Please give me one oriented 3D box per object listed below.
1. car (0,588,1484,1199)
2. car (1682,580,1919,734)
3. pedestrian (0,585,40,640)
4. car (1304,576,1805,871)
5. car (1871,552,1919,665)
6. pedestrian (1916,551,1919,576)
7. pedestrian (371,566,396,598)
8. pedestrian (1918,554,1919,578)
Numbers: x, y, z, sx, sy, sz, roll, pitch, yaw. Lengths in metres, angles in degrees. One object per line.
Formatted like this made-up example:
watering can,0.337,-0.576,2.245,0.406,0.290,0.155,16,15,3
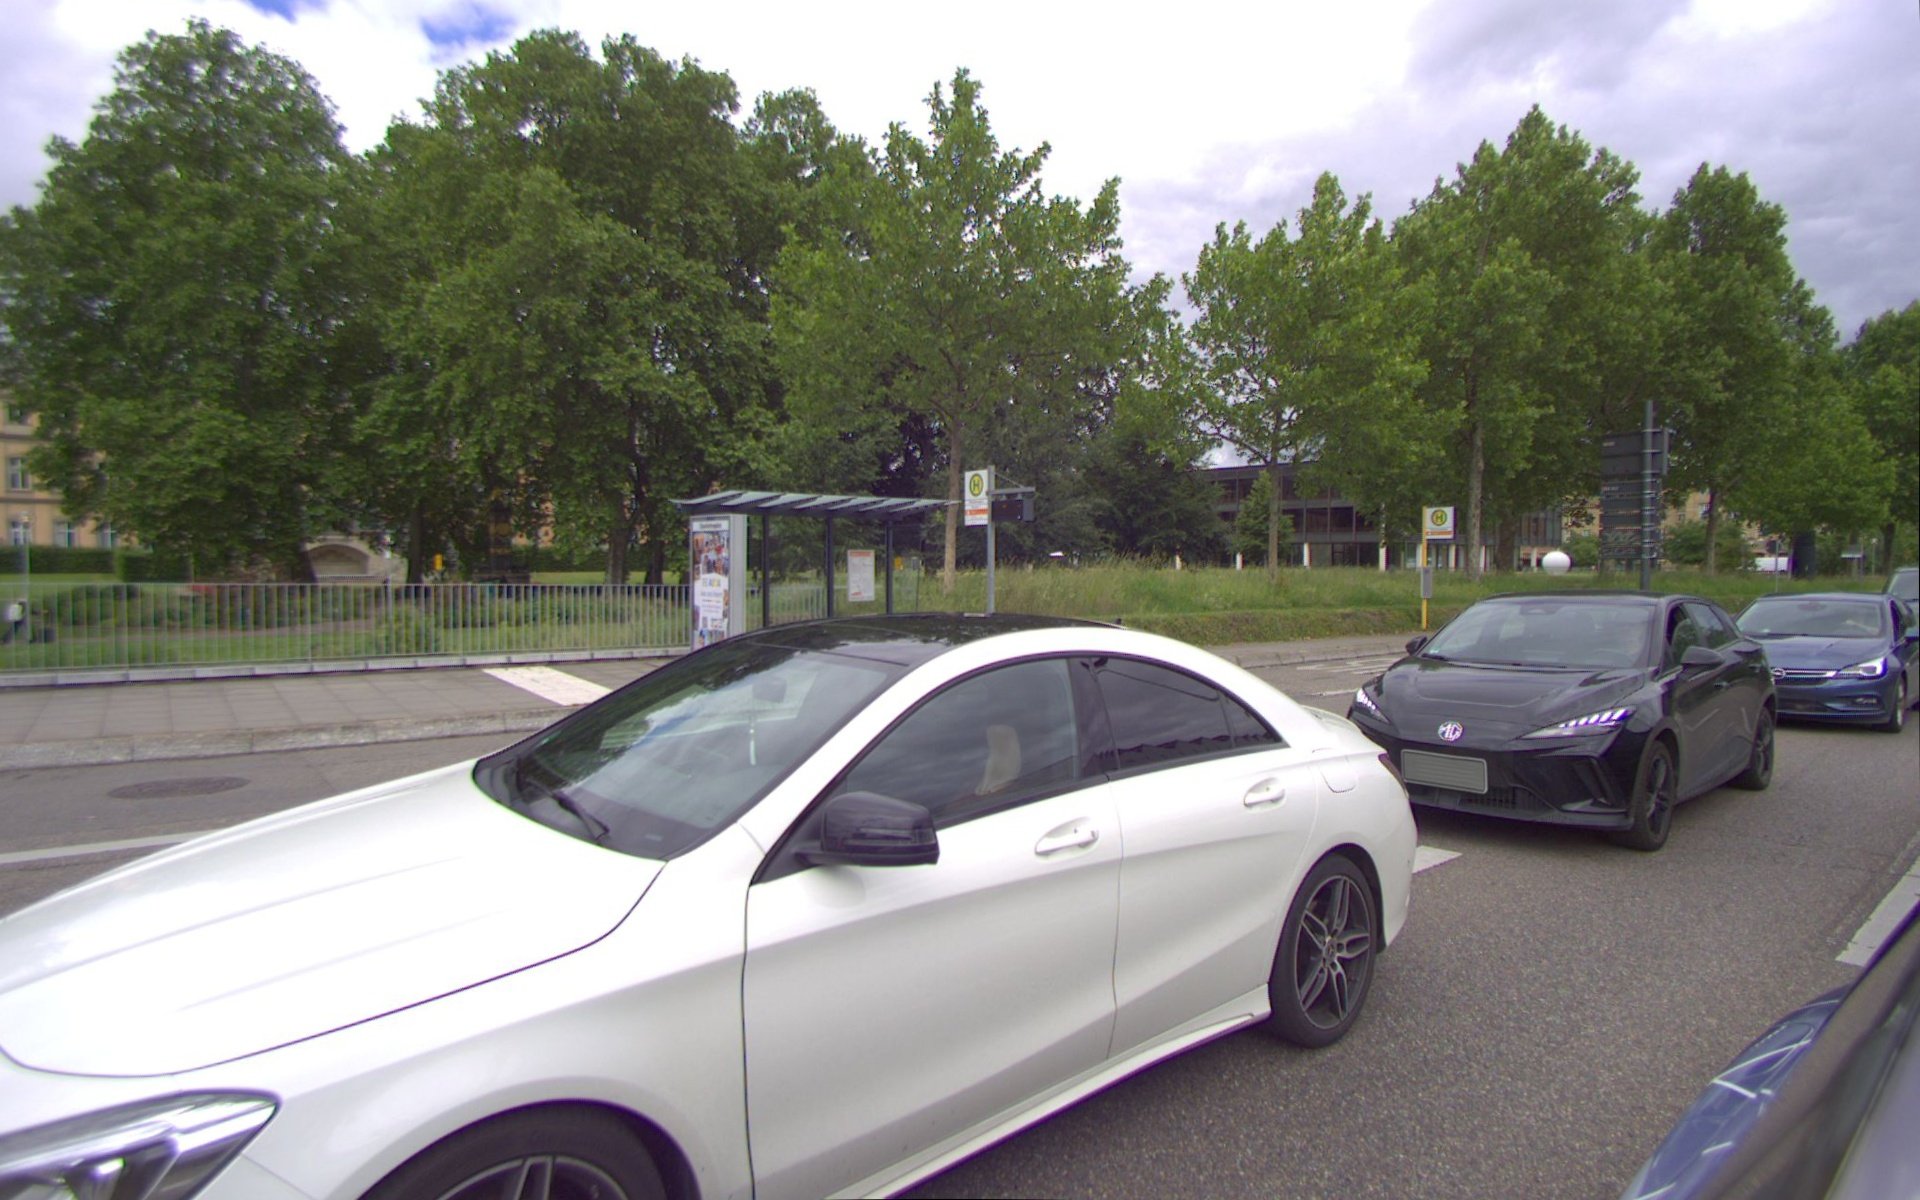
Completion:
car,-0.253,0.719,3.211,4.446,1.437,1.799,-1,2,-39
car,10.068,0.511,11.749,3.944,1.452,1.804,-1,2,-40
pedestrian,-28.366,0.382,30.518,0.674,1.621,0.654,-1,0,16
car,4.393,0.592,7.243,4.020,1.508,1.852,-1,2,-40
car,17.924,0.097,17.916,4.719,1.856,2.020,-1,2,-40
pedestrian,76.776,-2.925,80.511,1.160,2.039,0.891,-2,0,-40
pedestrian,-37.766,-1.169,66.254,1.083,2.039,0.944,-2,0,-4
pedestrian,80.837,-2.875,84.661,1.160,2.039,0.891,-2,0,-40
